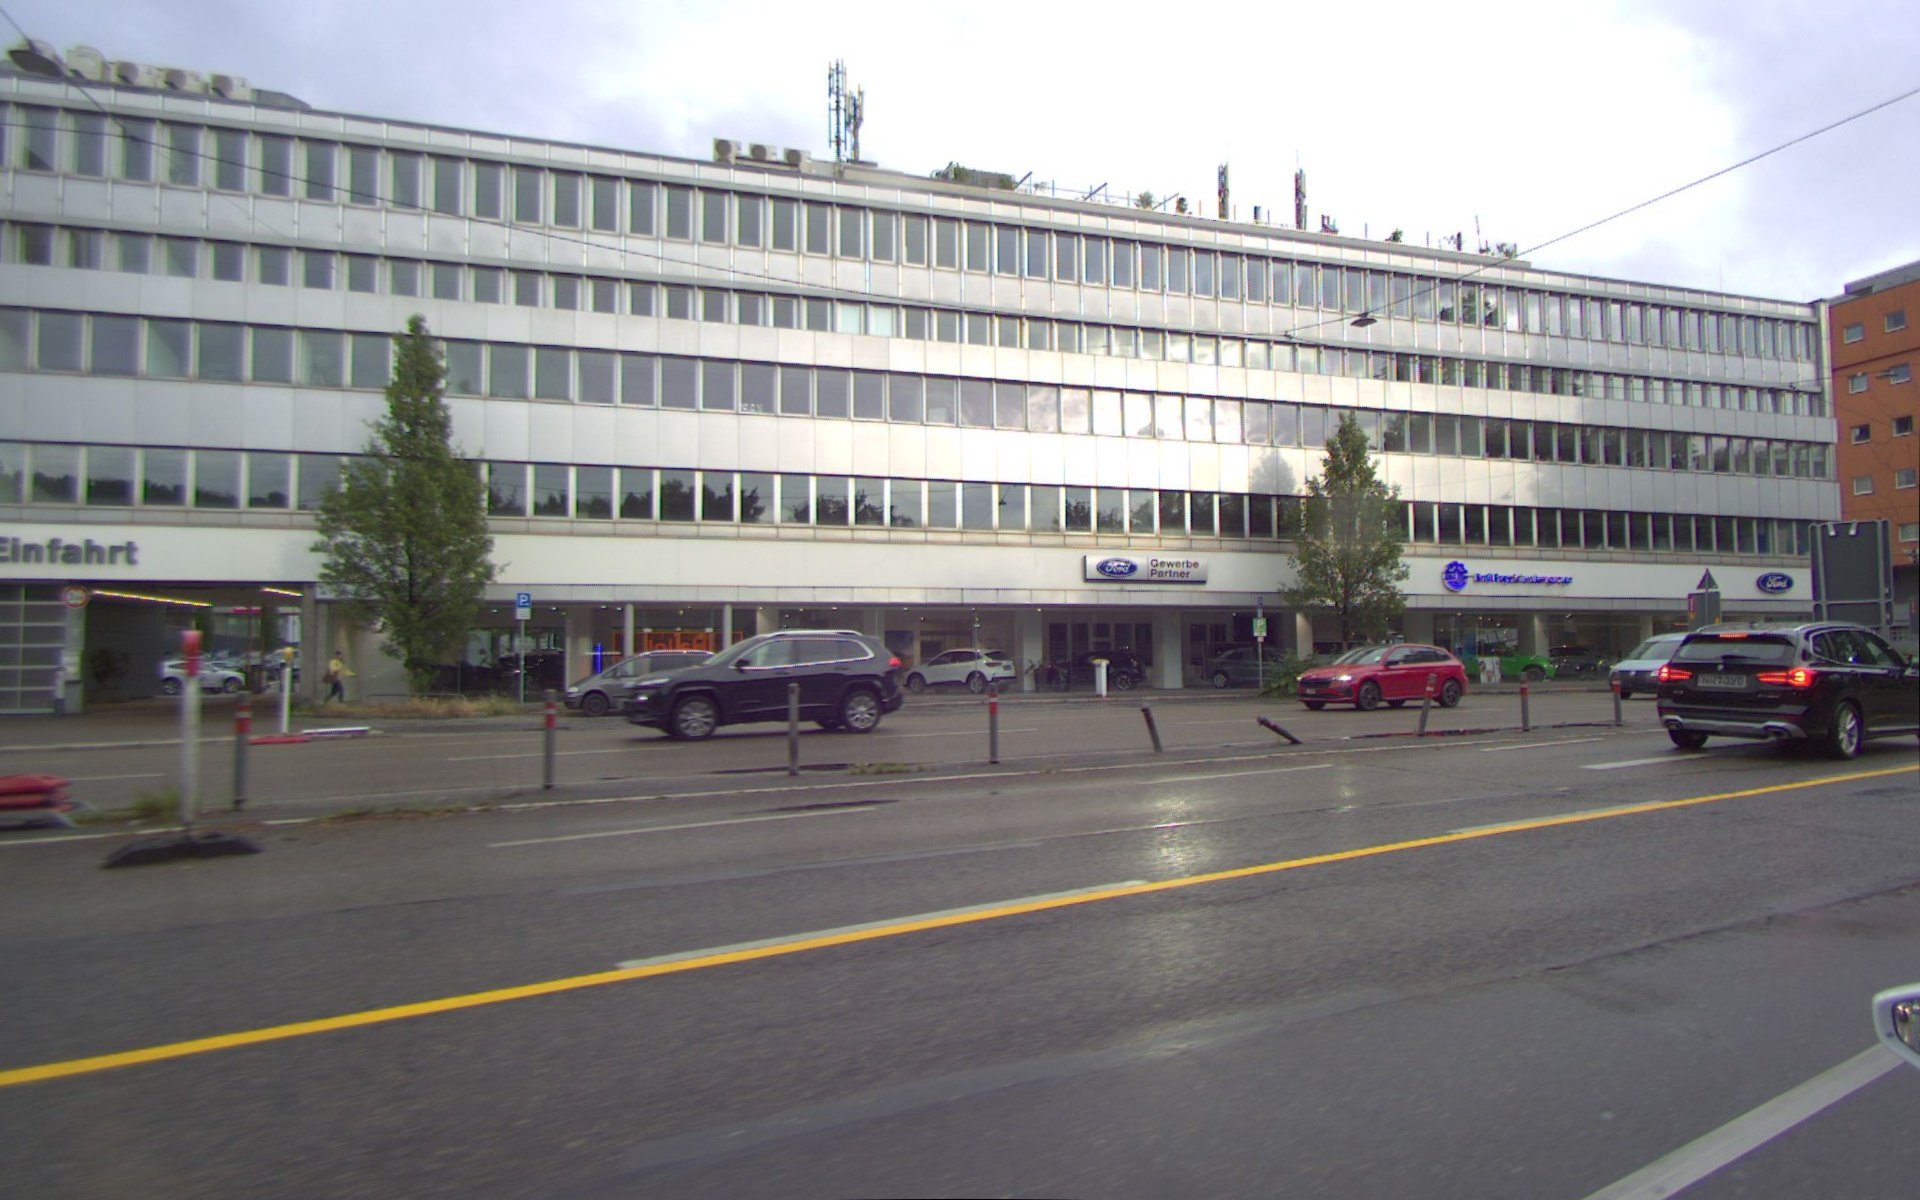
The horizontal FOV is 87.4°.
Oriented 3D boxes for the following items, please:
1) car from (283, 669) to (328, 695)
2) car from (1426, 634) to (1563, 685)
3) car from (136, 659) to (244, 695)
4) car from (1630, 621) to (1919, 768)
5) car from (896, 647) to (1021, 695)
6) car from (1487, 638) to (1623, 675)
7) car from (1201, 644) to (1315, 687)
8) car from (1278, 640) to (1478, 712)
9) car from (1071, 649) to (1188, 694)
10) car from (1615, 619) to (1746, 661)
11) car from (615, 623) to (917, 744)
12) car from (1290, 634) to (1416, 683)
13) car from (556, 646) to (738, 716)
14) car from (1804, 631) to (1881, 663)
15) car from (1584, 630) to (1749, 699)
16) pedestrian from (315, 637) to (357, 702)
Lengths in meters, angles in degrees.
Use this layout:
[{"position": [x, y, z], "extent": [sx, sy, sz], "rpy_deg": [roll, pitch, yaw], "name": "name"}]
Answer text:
[{"position": [-44.597, 5.582, 68.488], "extent": [1.763, 1.711, 3.790], "rpy_deg": [1, -5, -21], "name": "car"}, {"position": [23.362, 2.645, 43.977], "extent": [5.115, 2.037, 1.996], "rpy_deg": [-4, -5, 31], "name": "car"}, {"position": [-39.314, 3.918, 51.384], "extent": [1.854, 1.724, 3.992], "rpy_deg": [-4, -5, 32], "name": "car"}, {"position": [11.250, 1.115, 13.350], "extent": [4.610, 1.619, 1.940], "rpy_deg": [0, -1, -28], "name": "car"}, {"position": [-0.066, 2.675, 37.573], "extent": [4.308, 1.673, 1.852], "rpy_deg": [-4, -5, 29], "name": "car"}, {"position": [28.035, 2.714, 47.504], "extent": [1.983, 1.540, 5.150], "rpy_deg": [2, -6, -39], "name": "car"}, {"position": [11.969, 2.665, 40.485], "extent": [3.938, 1.594, 1.993], "rpy_deg": [-4, -6, 37], "name": "car"}, {"position": [9.594, 1.729, 23.056], "extent": [4.315, 1.521, 1.824], "rpy_deg": [1, -5, -26], "name": "car"}, {"position": [6.398, 2.704, 38.105], "extent": [3.930, 1.594, 1.997], "rpy_deg": [0, -4, -12], "name": "car"}, {"position": [34.664, 1.981, 48.460], "extent": [1.979, 1.761, 4.731], "rpy_deg": [2, -5, -33], "name": "car"}, {"position": [-3.137, 1.318, 16.491], "extent": [4.547, 1.760, 1.838], "rpy_deg": [1, -4, -29], "name": "car"}, {"position": [16.927, 2.562, 43.385], "extent": [4.893, 1.921, 2.000], "rpy_deg": [-3, -5, 22], "name": "car"}, {"position": [-8.607, 2.233, 27.937], "extent": [4.652, 1.801, 1.849], "rpy_deg": [0, -5, -16], "name": "car"}, {"position": [59.146, 3.141, 67.319], "extent": [4.782, 2.041, 1.989], "rpy_deg": [1, 1, -23], "name": "car"}, {"position": [19.539, 1.779, 27.779], "extent": [4.242, 1.808, 1.730], "rpy_deg": [1, -5, -24], "name": "car"}, {"position": [-17.060, 1.911, 27.465], "extent": [0.657, 1.742, 0.706], "rpy_deg": [-3, -5, 29], "name": "pedestrian"}]
